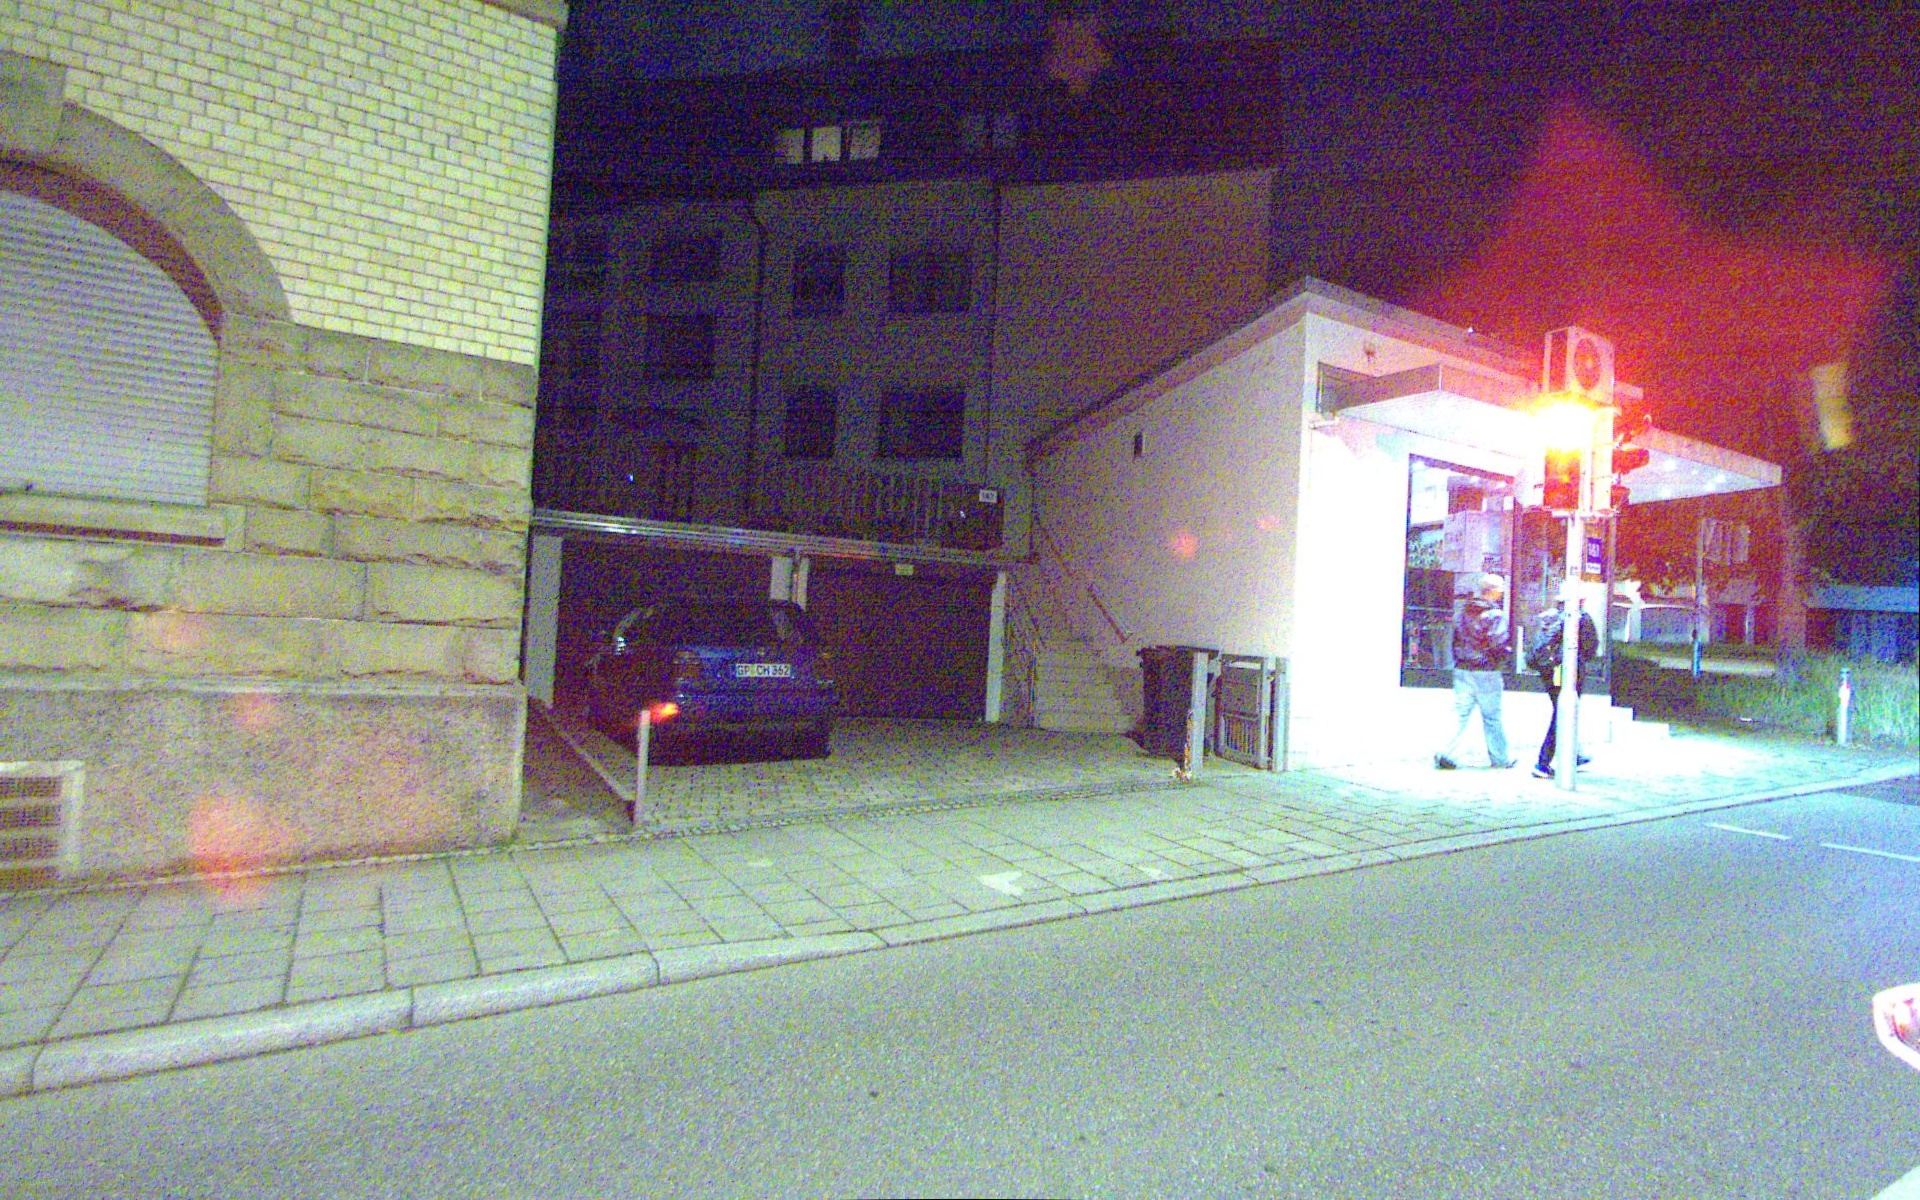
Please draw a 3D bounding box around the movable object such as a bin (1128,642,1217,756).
[{"bbox_3d":[2.113,0.974,10.031,0.643,1.063,0.639,2,0,-12],"label":"movable object such as a bin"}]

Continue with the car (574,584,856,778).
[{"bbox_3d":[-2.456,0.626,9.502,1.655,1.470,3.341,2,0,-31],"label":"car"}]

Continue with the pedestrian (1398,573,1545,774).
[{"bbox_3d":[4.802,0.657,9.430,1.091,1.768,0.738,2,0,-31],"label":"pedestrian"}]

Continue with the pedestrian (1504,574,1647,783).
[{"bbox_3d":[5.540,0.676,9.043,1.017,1.768,0.672,2,0,-31],"label":"pedestrian"}]
